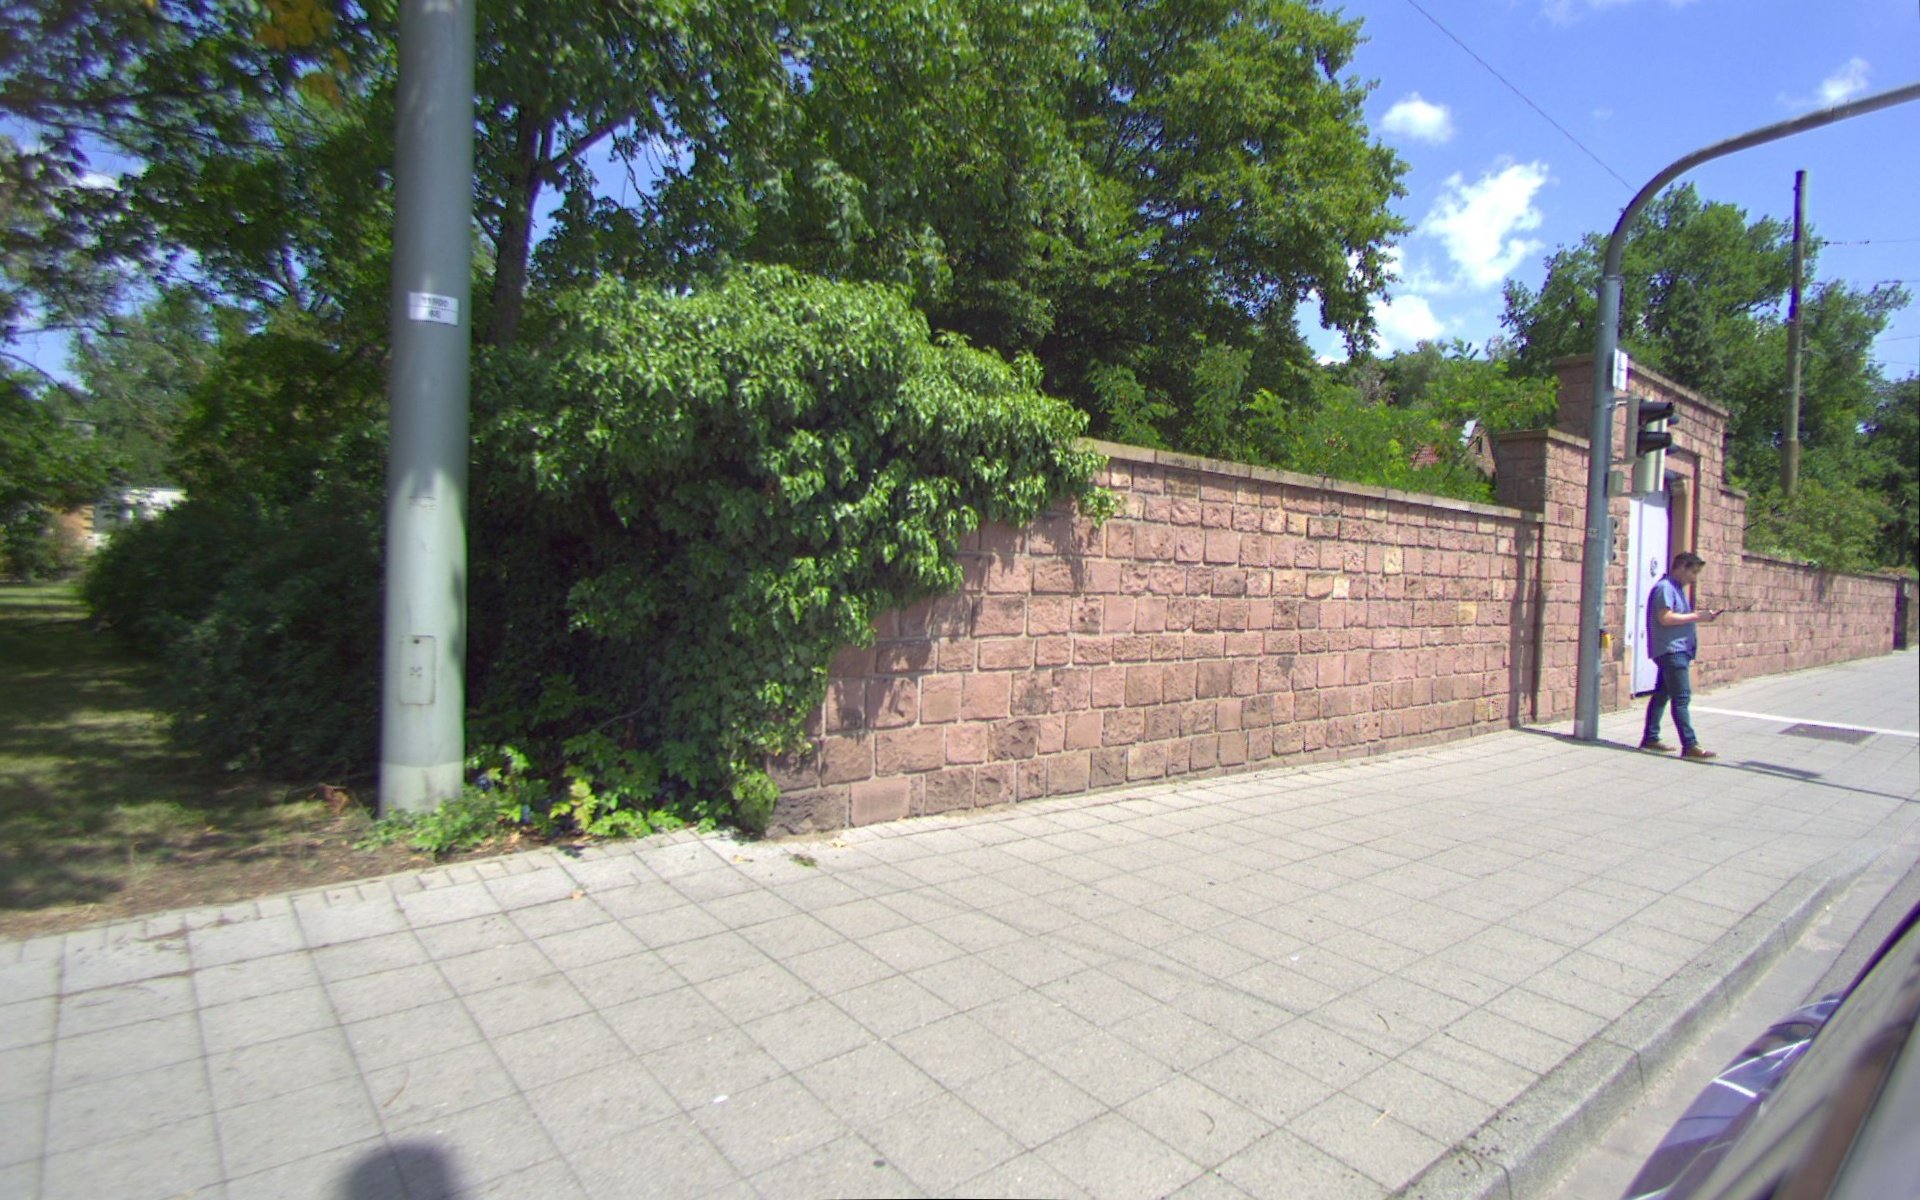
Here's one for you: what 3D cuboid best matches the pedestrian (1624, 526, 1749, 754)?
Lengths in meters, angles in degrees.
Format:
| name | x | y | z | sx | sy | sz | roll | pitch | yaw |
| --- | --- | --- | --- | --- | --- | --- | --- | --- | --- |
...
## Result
| name | x | y | z | sx | sy | sz | roll | pitch | yaw |
| --- | --- | --- | --- | --- | --- | --- | --- | --- | --- |
| pedestrian | 6.378 | 0.312 | 8.881 | 0.764 | 1.874 | 0.708 | 4 | 2 | 39 |
